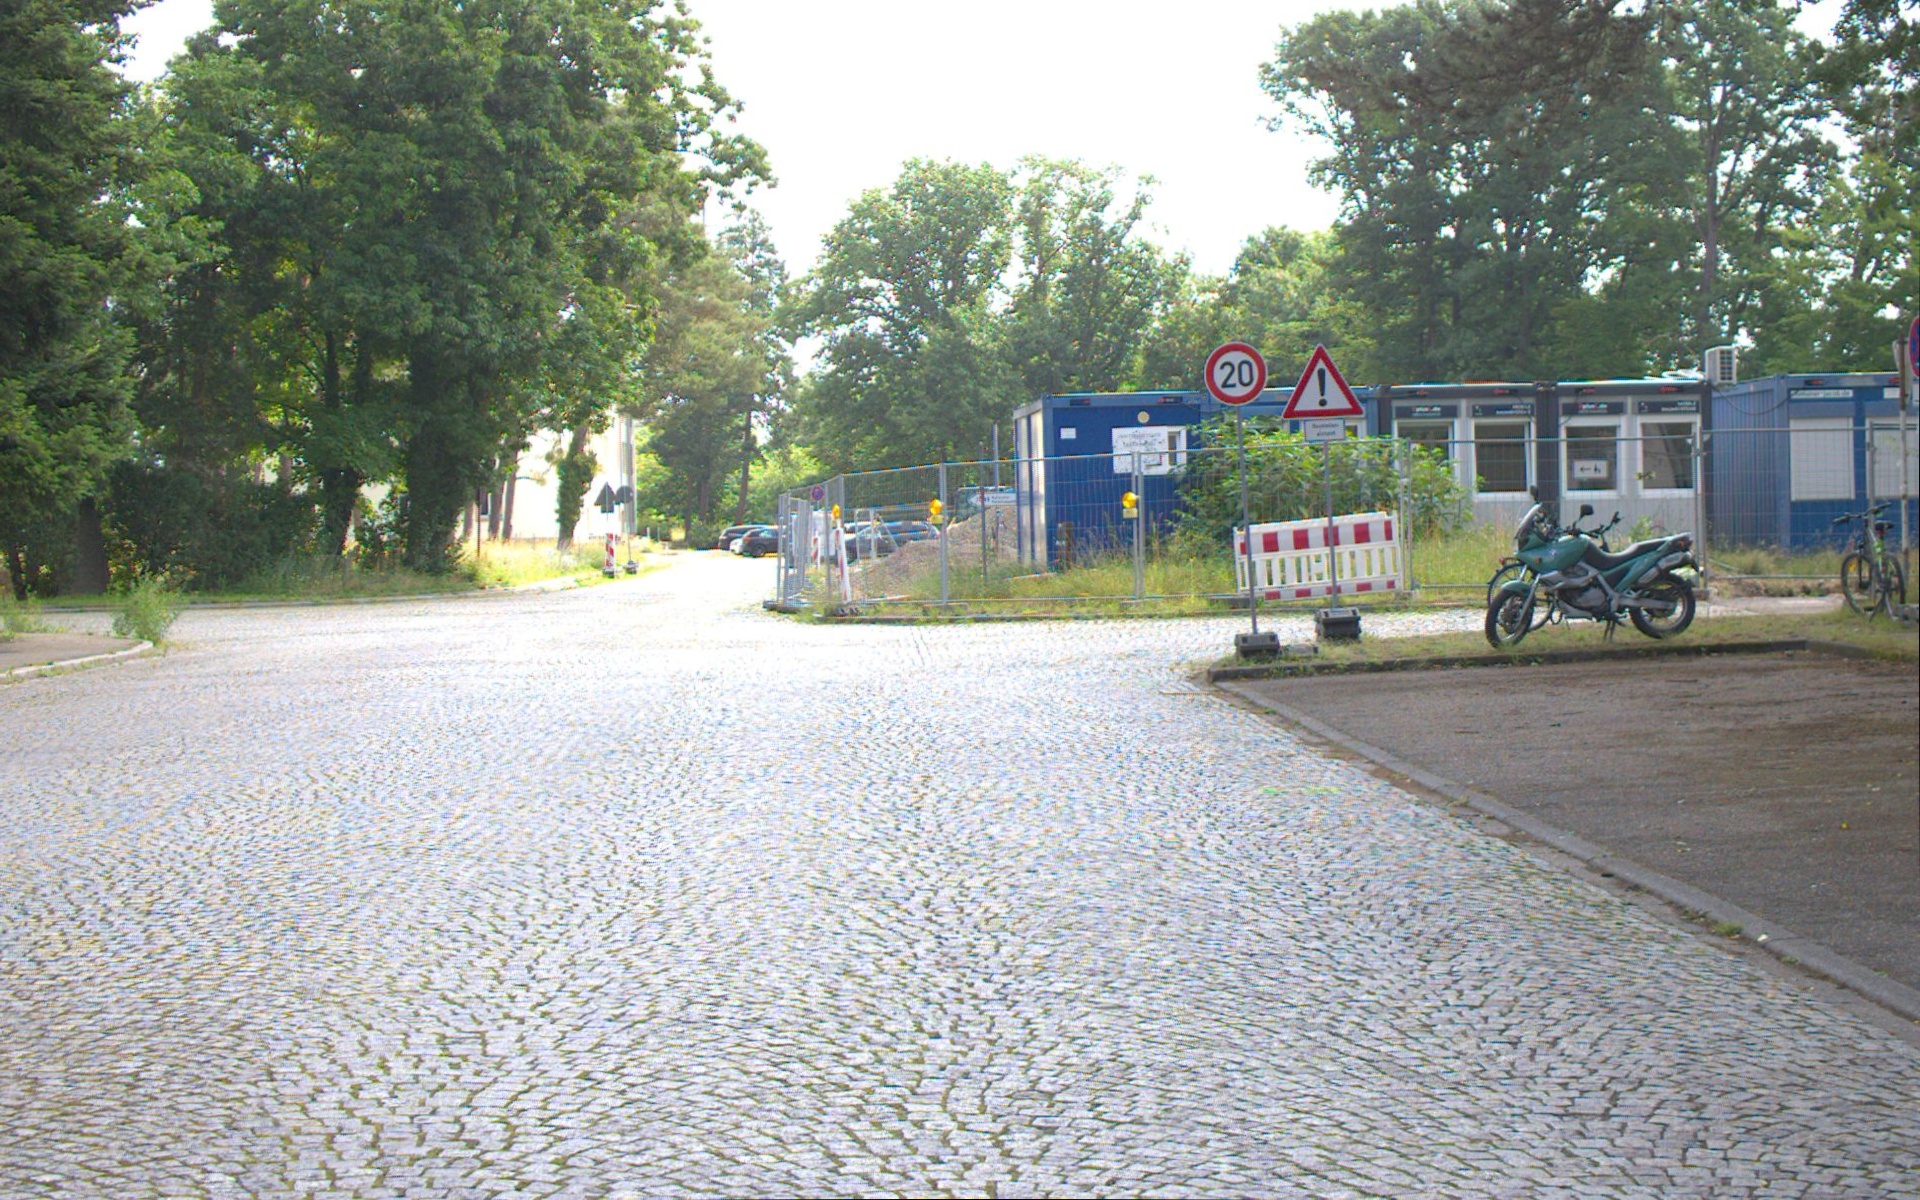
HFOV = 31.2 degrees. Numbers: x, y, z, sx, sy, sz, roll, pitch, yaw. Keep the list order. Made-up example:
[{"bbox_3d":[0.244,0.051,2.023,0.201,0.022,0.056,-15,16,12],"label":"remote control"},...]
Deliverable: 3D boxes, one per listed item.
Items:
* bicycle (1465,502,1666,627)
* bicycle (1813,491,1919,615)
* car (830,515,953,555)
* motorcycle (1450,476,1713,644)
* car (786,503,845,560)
[{"bbox_3d":[6.107,-0.357,34.672,1.900,1.193,0.655,-1,2,17],"label":"bicycle"},{"bbox_3d":[8.970,-0.480,33.825,0.642,1.165,1.905,-2,2,0],"label":"bicycle"},{"bbox_3d":[-2.558,-2.440,129.004,4.403,1.505,2.000,0,1,6],"label":"car"},{"bbox_3d":[5.830,-0.382,32.288,2.276,1.480,0.757,-2,2,-7],"label":"motorcycle"},{"bbox_3d":[-5.202,-2.452,123.159,1.993,2.007,4.092,-1,1,-4],"label":"car"}]
